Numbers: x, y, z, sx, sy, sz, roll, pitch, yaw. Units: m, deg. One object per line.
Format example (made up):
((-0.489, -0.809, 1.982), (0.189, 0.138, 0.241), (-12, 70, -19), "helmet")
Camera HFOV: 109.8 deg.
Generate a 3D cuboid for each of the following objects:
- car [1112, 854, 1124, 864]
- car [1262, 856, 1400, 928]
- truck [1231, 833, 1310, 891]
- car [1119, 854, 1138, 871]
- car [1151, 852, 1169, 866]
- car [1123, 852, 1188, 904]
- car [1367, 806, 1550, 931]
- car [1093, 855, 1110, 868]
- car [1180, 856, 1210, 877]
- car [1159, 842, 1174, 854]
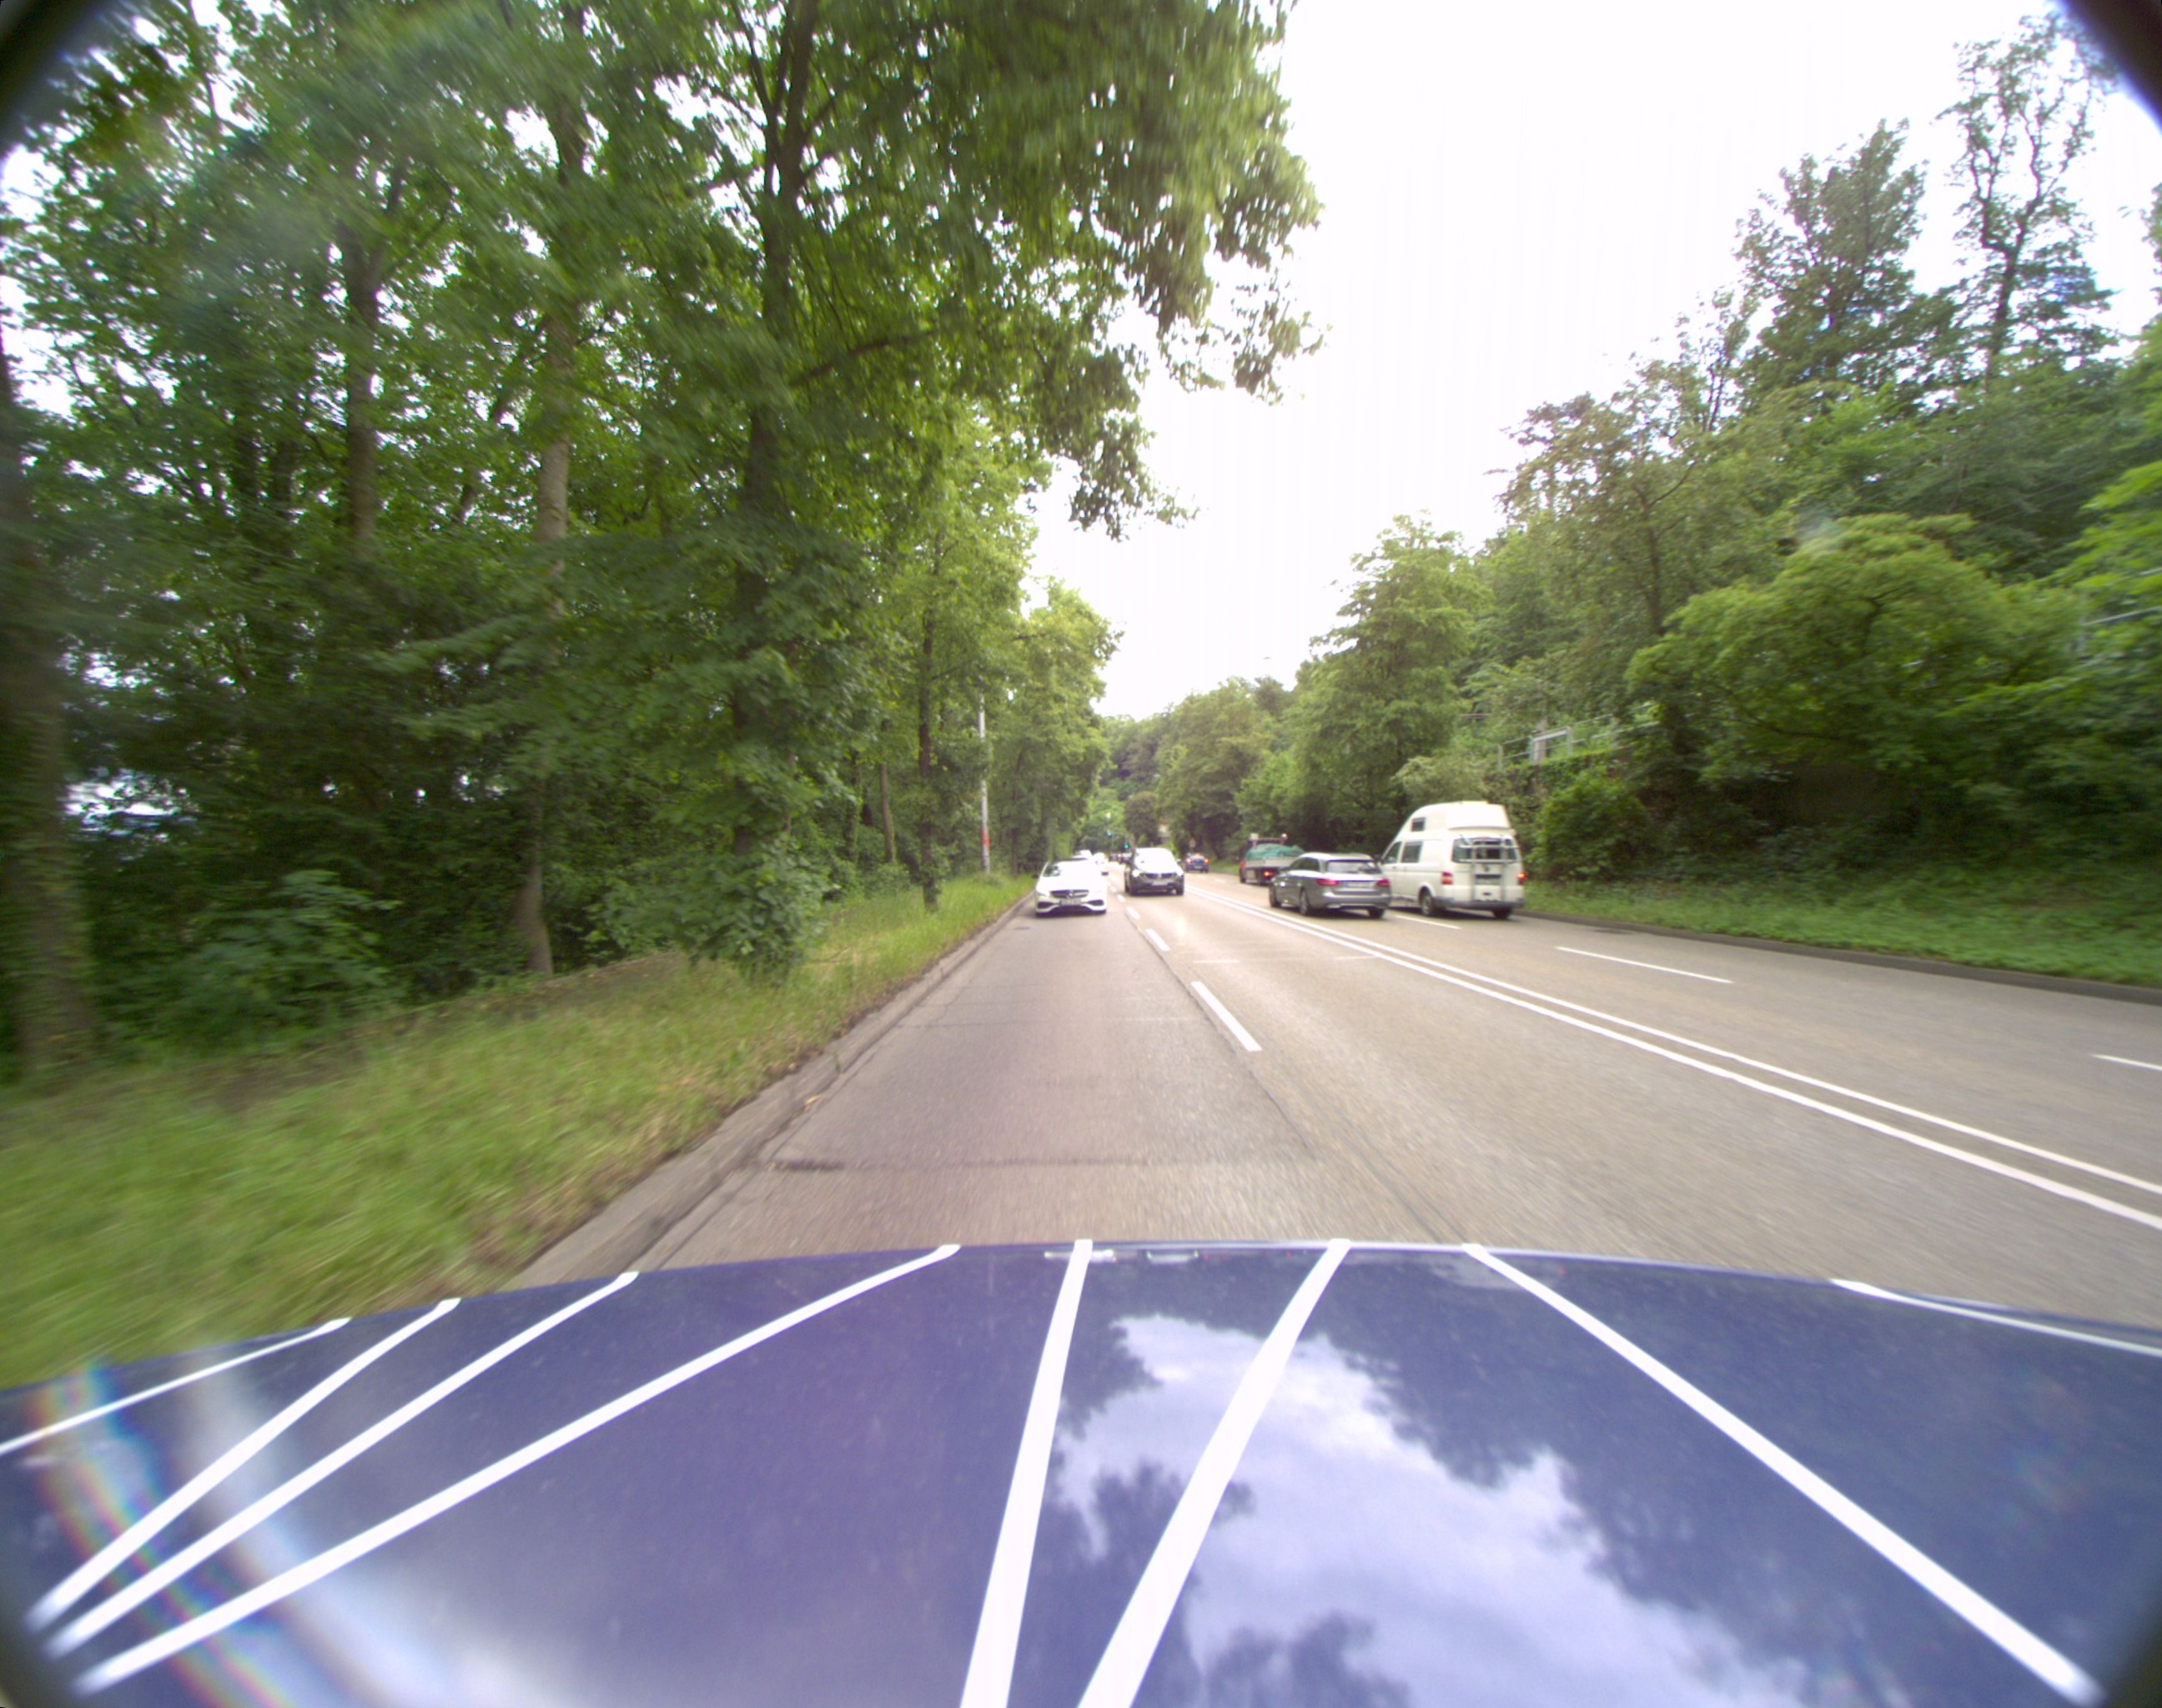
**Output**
((6.298, 0.845, 129.362), (1.802, 1.543, 3.999), (-2, 1, 0), "car")
((5.802, 0.803, 18.254), (1.843, 1.457, 4.465), (0, 1, 0), "car")
((8.748, 0.300, 35.735), (2.182, 2.397, 6.465), (-2, 1, 2), "truck")
((5.945, 1.008, 95.383), (1.691, 1.453, 3.999), (-23, 1, 0), "car")
((9.046, 0.571, 87.353), (1.737, 1.502, 4.432), (0, 1, 1), "car")
((2.589, 0.786, 27.282), (1.871, 1.653, 4.192), (1, 1, 0), "car")
((8.700, 0.279, 18.119), (1.892, 2.541, 4.914), (1, 1, 1), "car")
((3.091, 1.134, 115.152), (1.699, 1.733, 3.996), (-2, 1, -11), "car")
((8.669, 0.899, 57.970), (1.674, 1.477, 3.999), (0, 1, -1), "car")
((12.193, -0.868, 109.012), (1.662, 1.762, 4.134), (1, 1, 0), "car")
